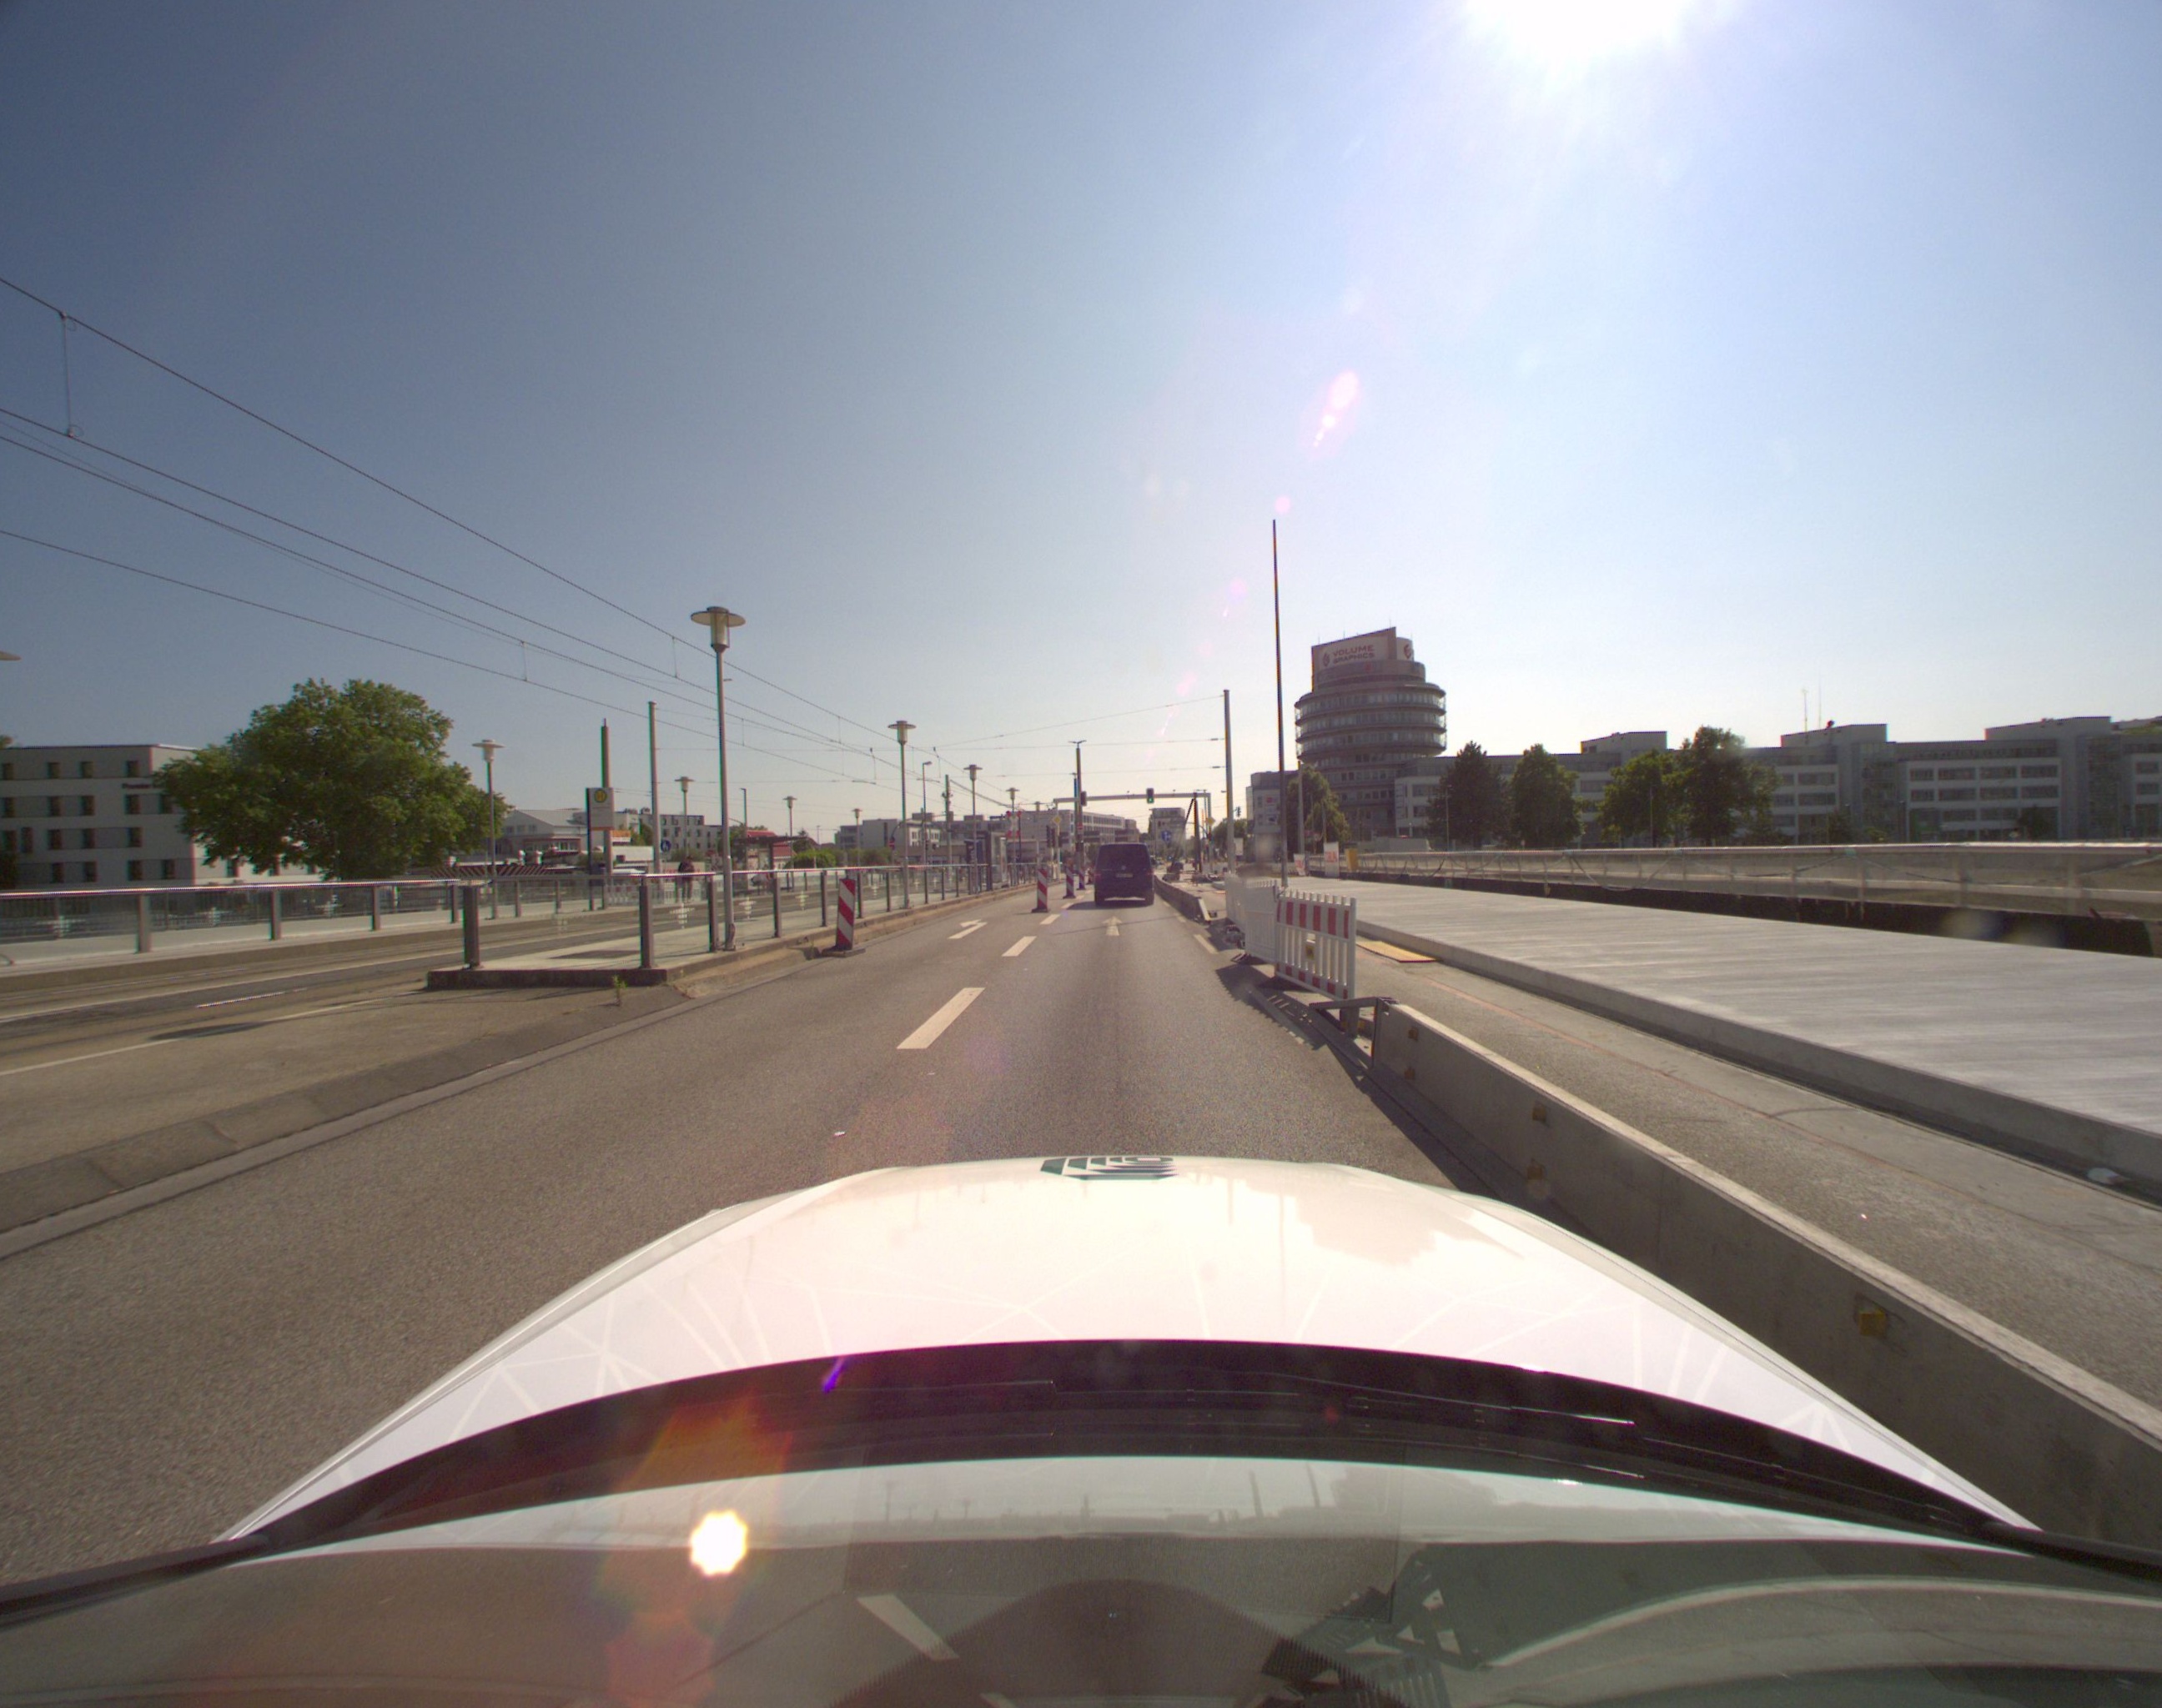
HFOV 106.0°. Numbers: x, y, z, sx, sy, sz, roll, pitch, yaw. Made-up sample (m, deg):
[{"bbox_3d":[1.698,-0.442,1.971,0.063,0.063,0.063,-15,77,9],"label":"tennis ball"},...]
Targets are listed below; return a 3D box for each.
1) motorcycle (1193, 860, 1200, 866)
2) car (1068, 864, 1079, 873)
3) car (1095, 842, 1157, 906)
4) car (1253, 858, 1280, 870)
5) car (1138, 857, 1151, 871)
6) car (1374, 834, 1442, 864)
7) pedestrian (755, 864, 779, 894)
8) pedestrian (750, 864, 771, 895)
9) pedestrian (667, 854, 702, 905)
[{"bbox_3d":[25.700,2.063,181.187,1.154,1.242,3.017,-1,0,11],"label":"motorcycle"},{"bbox_3d":[-1.328,2.665,147.640,1.740,1.486,4.002,-2,0,2],"label":"car"},{"bbox_3d":[1.490,0.586,26.712,1.880,1.934,4.004,0,0,3],"label":"car"},{"bbox_3d":[28.465,1.490,124.990,3.797,1.797,1.683,0,1,3],"label":"car"},{"bbox_3d":[8.079,1.211,103.571,1.637,1.728,3.723,0,0,6],"label":"car"},{"bbox_3d":[32.057,-0.542,79.857,5.962,2.887,2.334,-1,1,-16],"label":"car"},{"bbox_3d":[-13.371,1.063,34.696,0.645,1.274,0.698,-2,0,6],"label":"pedestrian"},{"bbox_3d":[-13.435,1.071,34.114,0.645,1.274,0.454,-2,0,6],"label":"pedestrian"},{"bbox_3d":[-13.189,0.854,27.093,0.655,1.654,0.742,-2,0,14],"label":"pedestrian"}]
